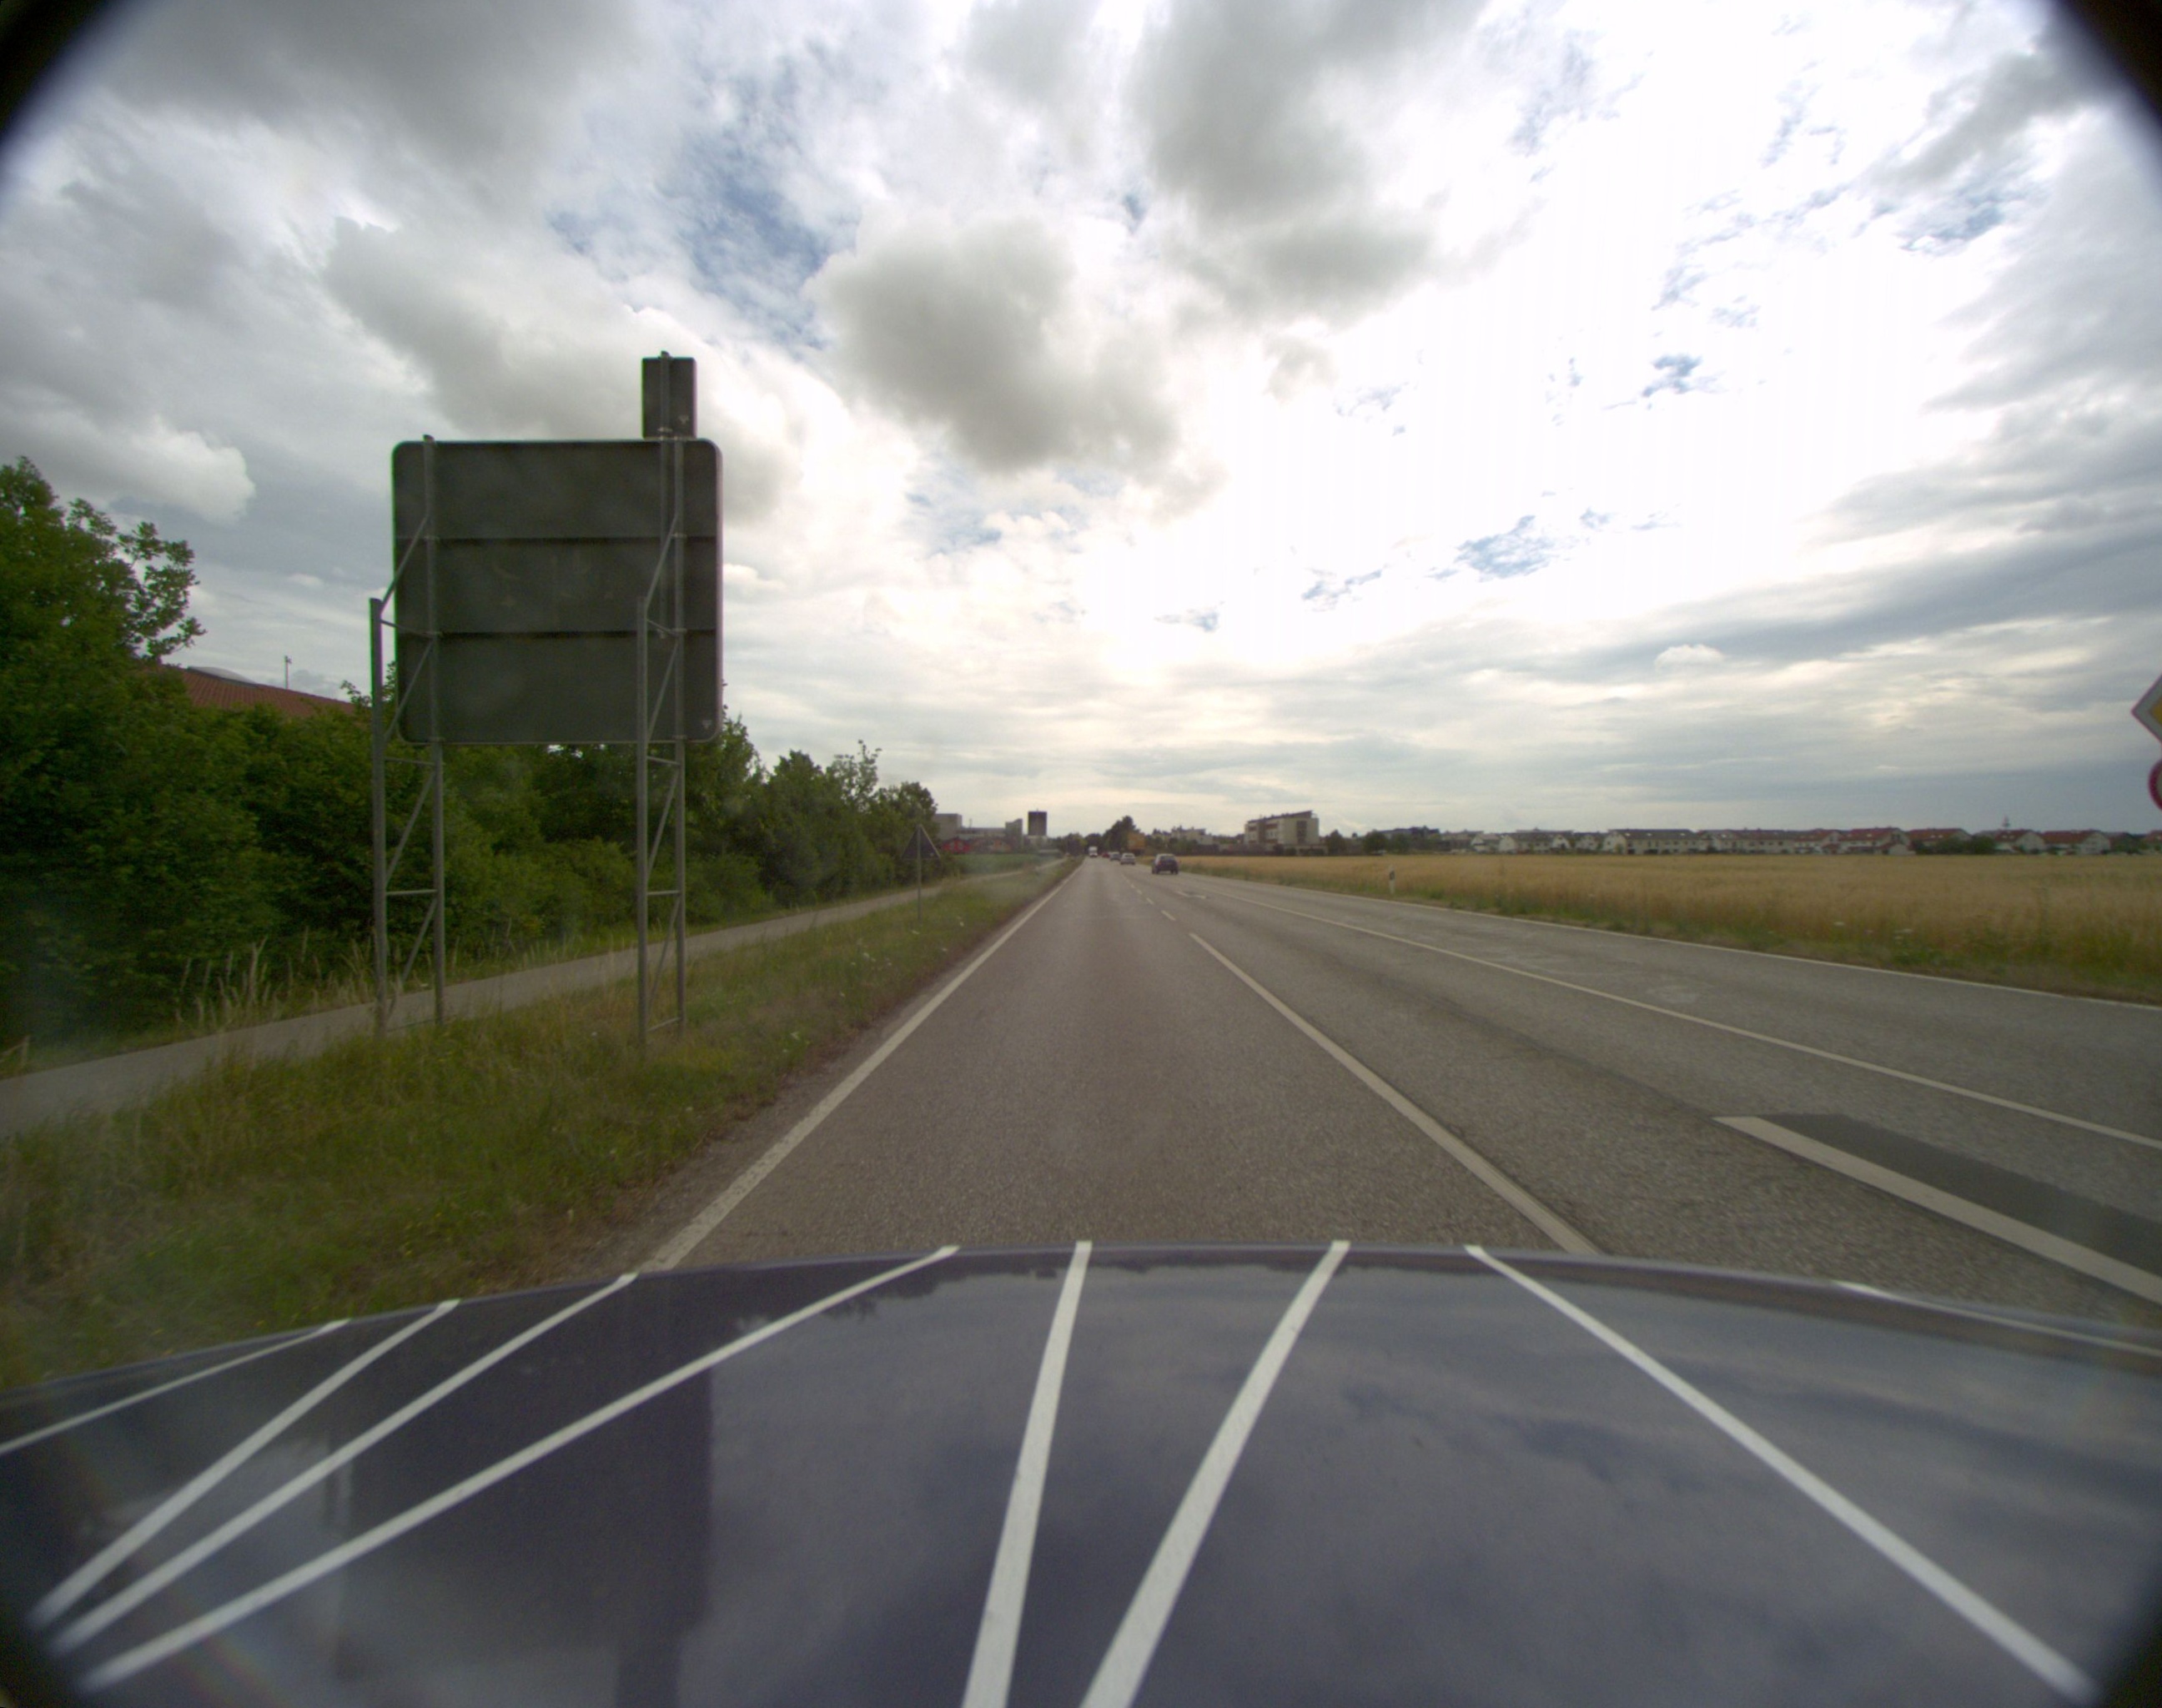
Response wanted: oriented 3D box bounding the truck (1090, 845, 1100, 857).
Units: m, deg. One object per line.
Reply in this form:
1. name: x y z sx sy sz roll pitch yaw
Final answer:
1. truck: 4.315 -0.822 230.269 2.813 3.588 11.219 0 0 1

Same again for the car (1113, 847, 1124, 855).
1. car: 7.036 -0.539 143.558 1.856 1.480 4.263 0 1 0

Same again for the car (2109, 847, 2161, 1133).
1. car: 6.533 0.716 2.021 1.683 1.512 4.395 -2 1 1

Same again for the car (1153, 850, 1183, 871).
1. car: 6.484 0.470 57.057 1.740 1.450 4.131 -1 1 -1

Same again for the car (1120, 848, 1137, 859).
1. car: 6.217 -0.080 99.058 1.856 1.480 4.263 0 1 -1
